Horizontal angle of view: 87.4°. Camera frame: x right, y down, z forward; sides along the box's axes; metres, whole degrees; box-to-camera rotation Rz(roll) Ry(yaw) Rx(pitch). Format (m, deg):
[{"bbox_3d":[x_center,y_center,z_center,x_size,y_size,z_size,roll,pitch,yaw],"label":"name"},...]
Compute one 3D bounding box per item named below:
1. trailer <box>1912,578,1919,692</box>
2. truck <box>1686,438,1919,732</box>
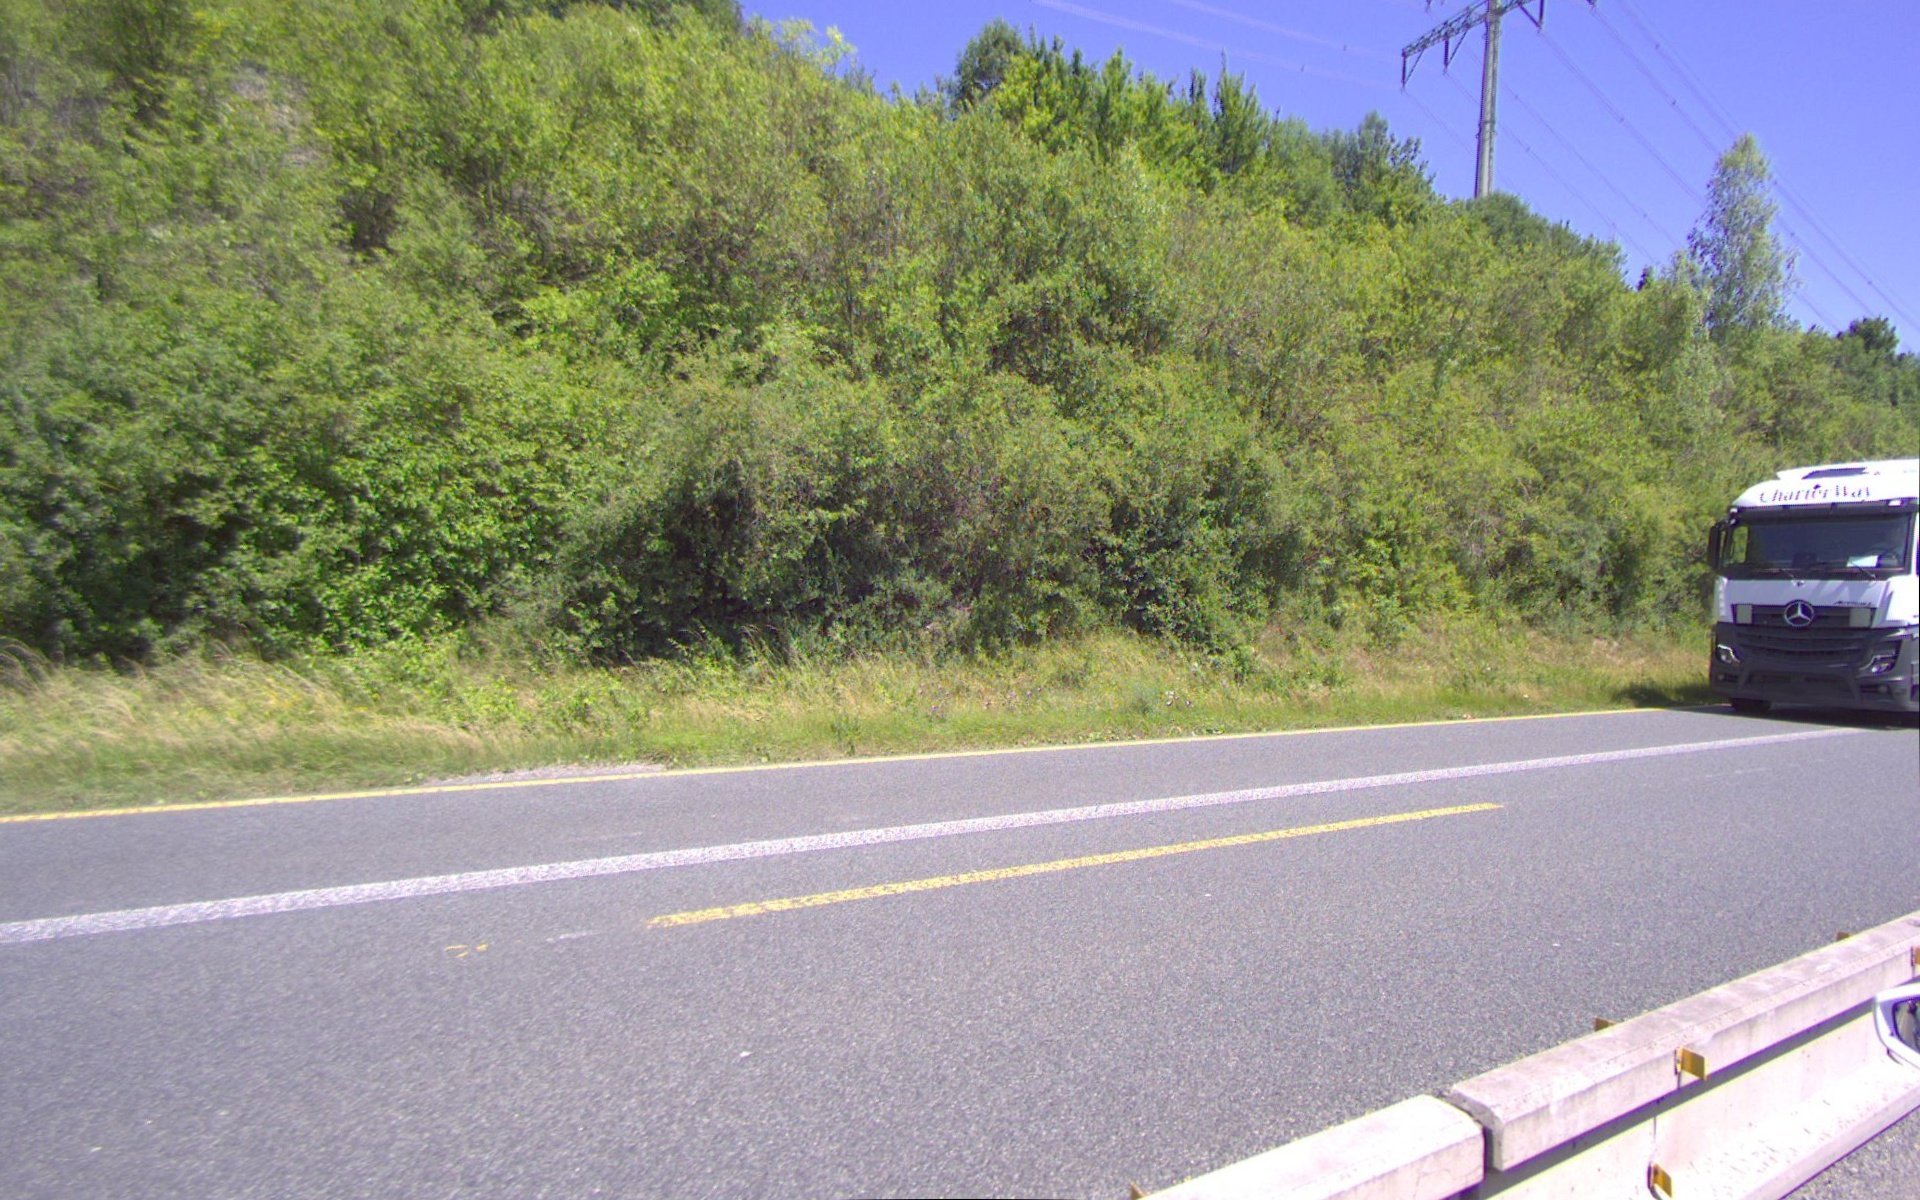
[{"bbox_3d":[24.408,0.388,22.046,8.814,3.381,2.637,1,2,-31],"label":"trailer"},{"bbox_3d":[16.500,-0.155,17.354,9.537,4.046,2.636,1,2,-31],"label":"truck"}]
